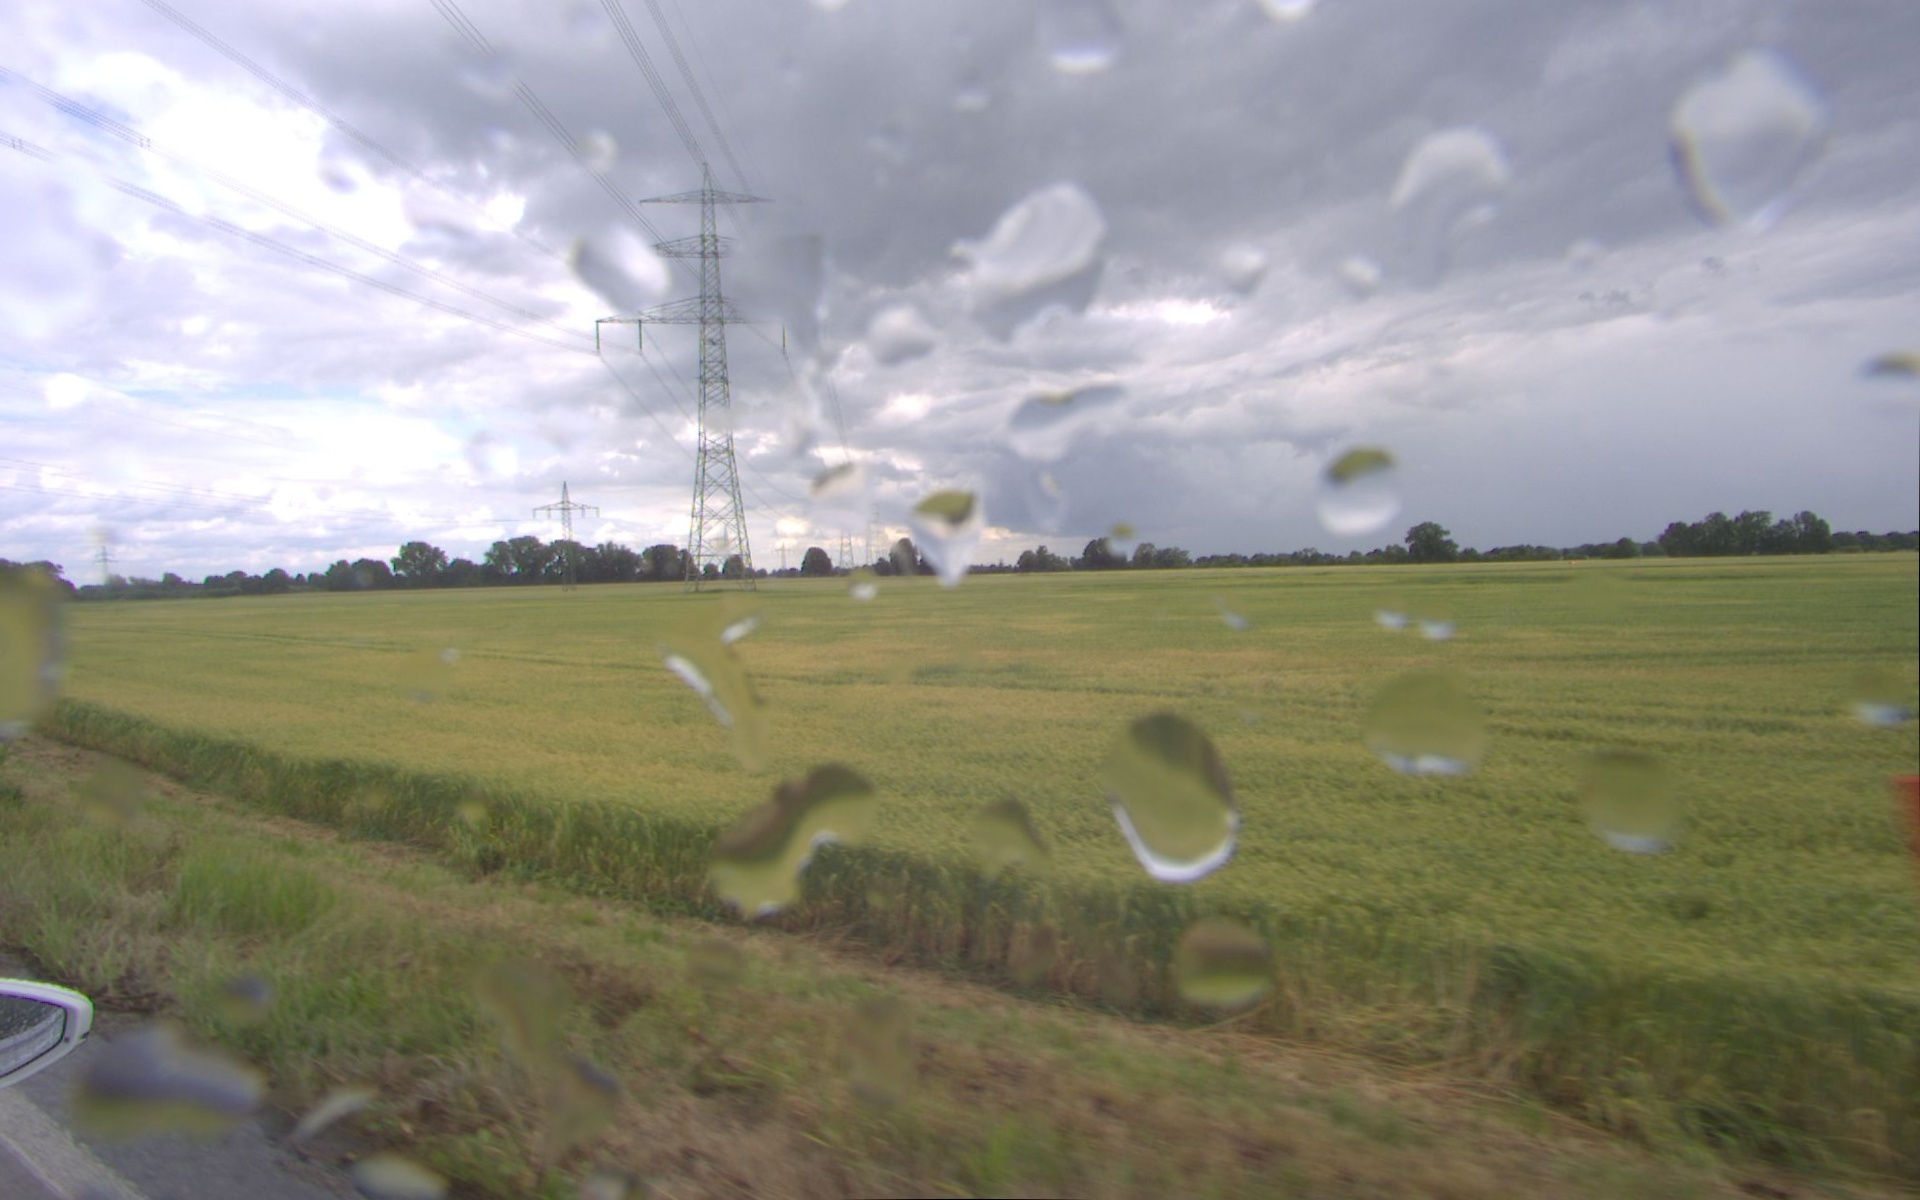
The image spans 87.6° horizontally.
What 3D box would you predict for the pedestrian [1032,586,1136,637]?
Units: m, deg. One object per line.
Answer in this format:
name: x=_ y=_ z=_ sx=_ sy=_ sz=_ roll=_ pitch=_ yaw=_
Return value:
pedestrian: x=5.288 y=0.526 z=42.624 sx=3.936 sy=2.039 sz=1.993 roll=-2 pitch=-2 yaw=26
